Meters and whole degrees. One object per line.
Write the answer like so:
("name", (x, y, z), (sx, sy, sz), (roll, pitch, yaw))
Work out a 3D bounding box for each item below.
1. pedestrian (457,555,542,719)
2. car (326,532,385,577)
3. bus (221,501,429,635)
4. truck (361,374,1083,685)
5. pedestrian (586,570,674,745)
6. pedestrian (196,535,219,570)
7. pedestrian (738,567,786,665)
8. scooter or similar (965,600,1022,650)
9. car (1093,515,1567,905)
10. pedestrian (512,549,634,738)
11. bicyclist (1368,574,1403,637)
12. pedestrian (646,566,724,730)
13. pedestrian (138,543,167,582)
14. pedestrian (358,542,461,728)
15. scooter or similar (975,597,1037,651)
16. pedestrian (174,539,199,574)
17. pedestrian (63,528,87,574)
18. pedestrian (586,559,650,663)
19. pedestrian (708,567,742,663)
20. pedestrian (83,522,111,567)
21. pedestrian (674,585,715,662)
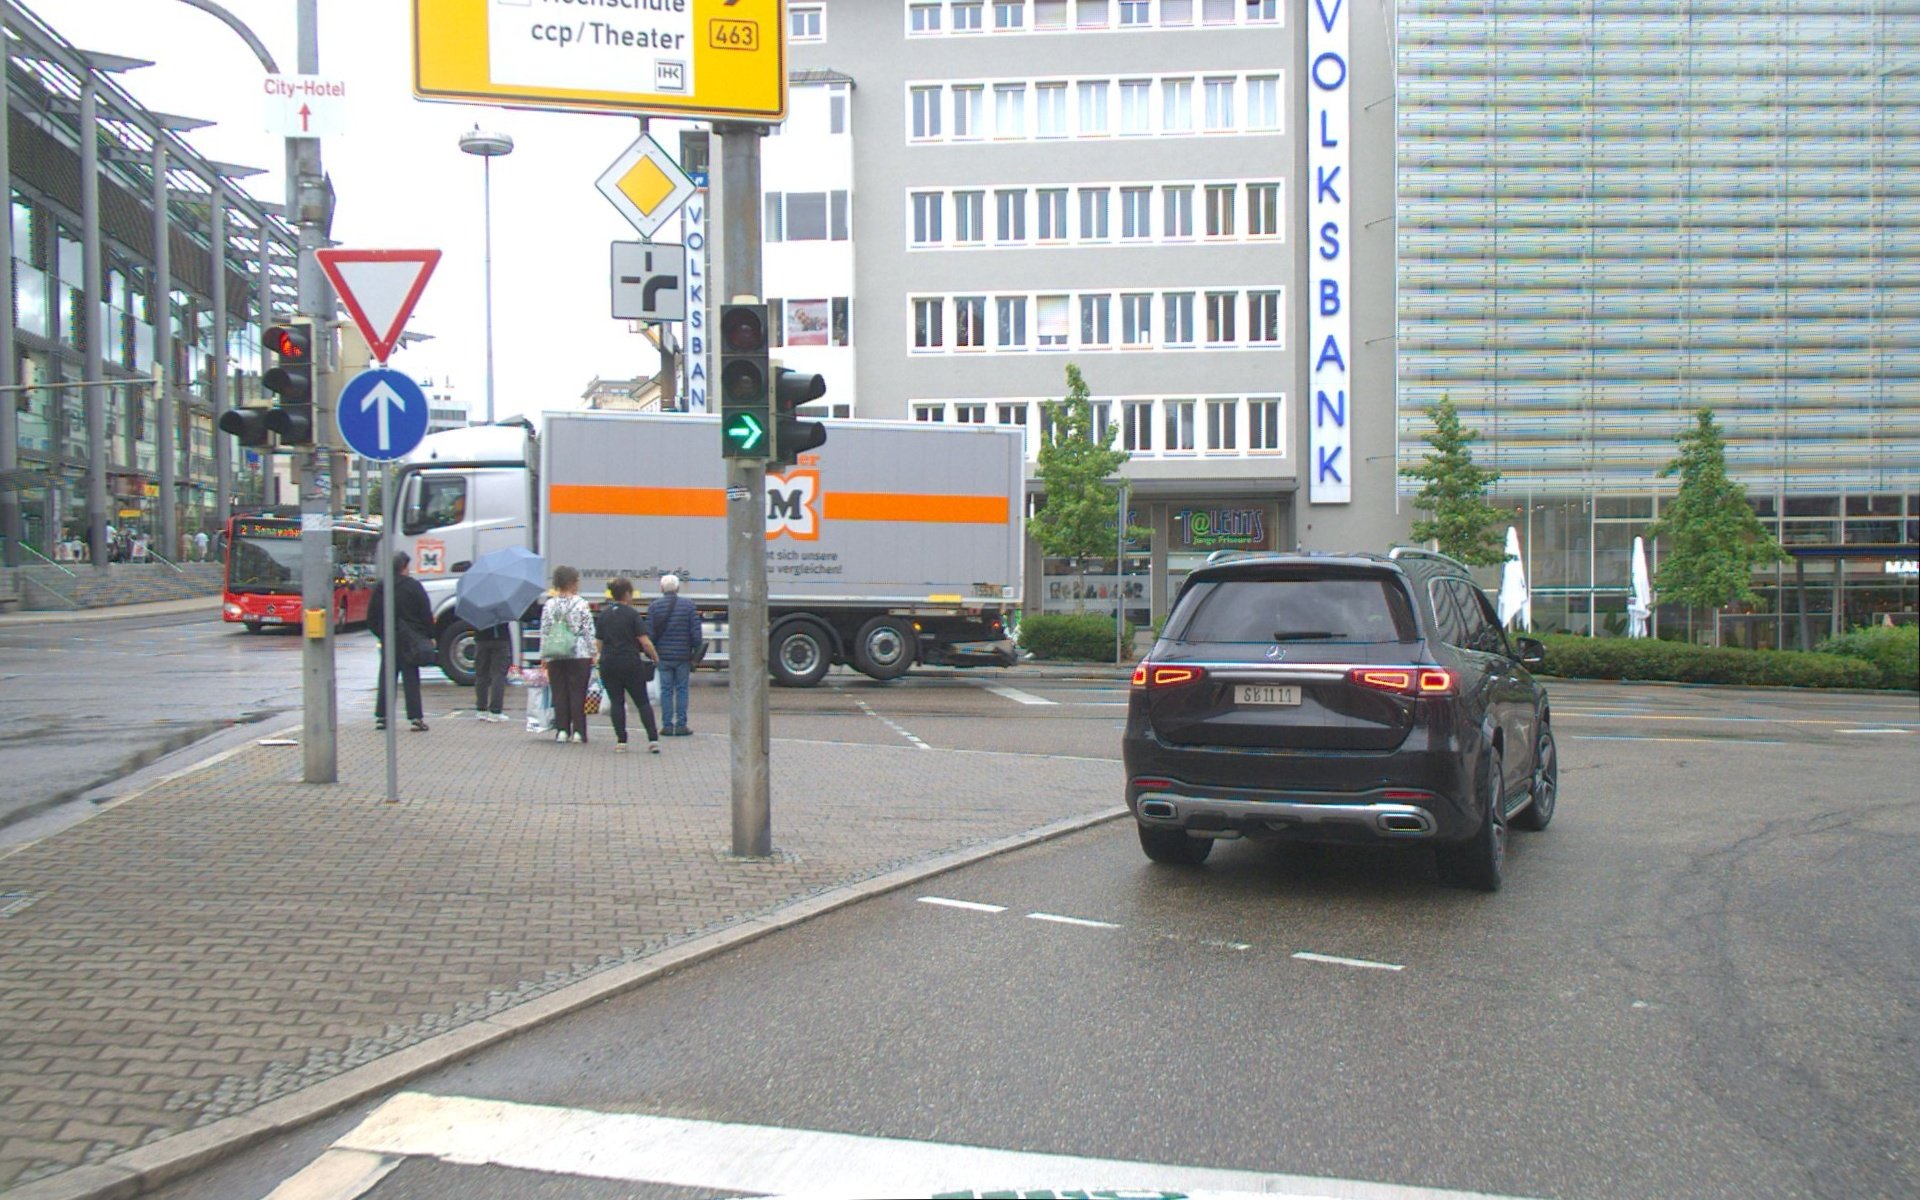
("pedestrian", (-4.977, 0.401, 17.898), (0.742, 1.721, 0.692), (2, -1, -8))
("car", (-29.579, -2.175, 81.048), (2.205, 2.070, 5.336), (2, 0, -15))
("bus", (-19.071, -0.859, 51.189), (2.868, 3.379, 18.426), (1, 0, -11))
("truck", (-3.556, -0.968, 25.895), (10.542, 4.409, 2.849), (1, 0, -11))
("pedestrian", (-2.939, 0.510, 14.761), (0.691, 1.514, 0.559), (2, -1, -8))
("pedestrian", (-38.682, -2.433, 85.035), (0.923, 1.743, 0.987), (1, 0, -17))
("pedestrian", (-3.557, 0.281, 29.755), (0.765, 1.719, 0.638), (2, 0, -3))
("scooter or similar", (0.823, 0.600, 40.378), (1.350, 1.207, 0.544), (0, 0, 8))
("car", (2.609, 0.527, 10.519), (2.046, 1.849, 4.790), (2, 0, 23))
("pedestrian", (-3.613, 0.398, 15.526), (0.959, 1.701, 0.914), (2, 0, -7))
("bicyclist", (11.875, 0.147, 46.207), (0.827, 1.734, 0.623), (0, 0, 2))
("pedestrian", (-2.766, 0.475, 16.688), (0.699, 1.595, 0.853), (2, -1, -7))
("pedestrian", (-36.006, -1.670, 73.762), (1.022, 1.743, 1.003), (1, 0, -17))
("pedestrian", (-5.321, 0.339, 16.033), (0.769, 1.741, 0.706), (2, -1, -8))
("scooter or similar", (1.176, 0.592, 42.087), (1.465, 1.278, 0.932), (1, 3, 8))
("pedestrian", (-39.579, -2.227, 84.626), (1.022, 1.743, 1.003), (1, 0, -17))
("pedestrian", (-34.755, -1.916, 64.947), (0.670, 1.743, 0.846), (1, 0, -17))
("pedestrian", (-6.141, 0.193, 29.665), (0.994, 1.818, 0.849), (1, 0, -18))
("pedestrian", (-4.200, 0.268, 29.637), (0.558, 1.698, 0.501), (1, 0, -5))
("pedestrian", (-33.998, -2.168, 65.187), (0.814, 1.743, 0.798), (1, 0, -17))
("pedestrian", (-4.754, 0.417, 29.574), (0.620, 1.363, 0.585), (1, 0, -18))
